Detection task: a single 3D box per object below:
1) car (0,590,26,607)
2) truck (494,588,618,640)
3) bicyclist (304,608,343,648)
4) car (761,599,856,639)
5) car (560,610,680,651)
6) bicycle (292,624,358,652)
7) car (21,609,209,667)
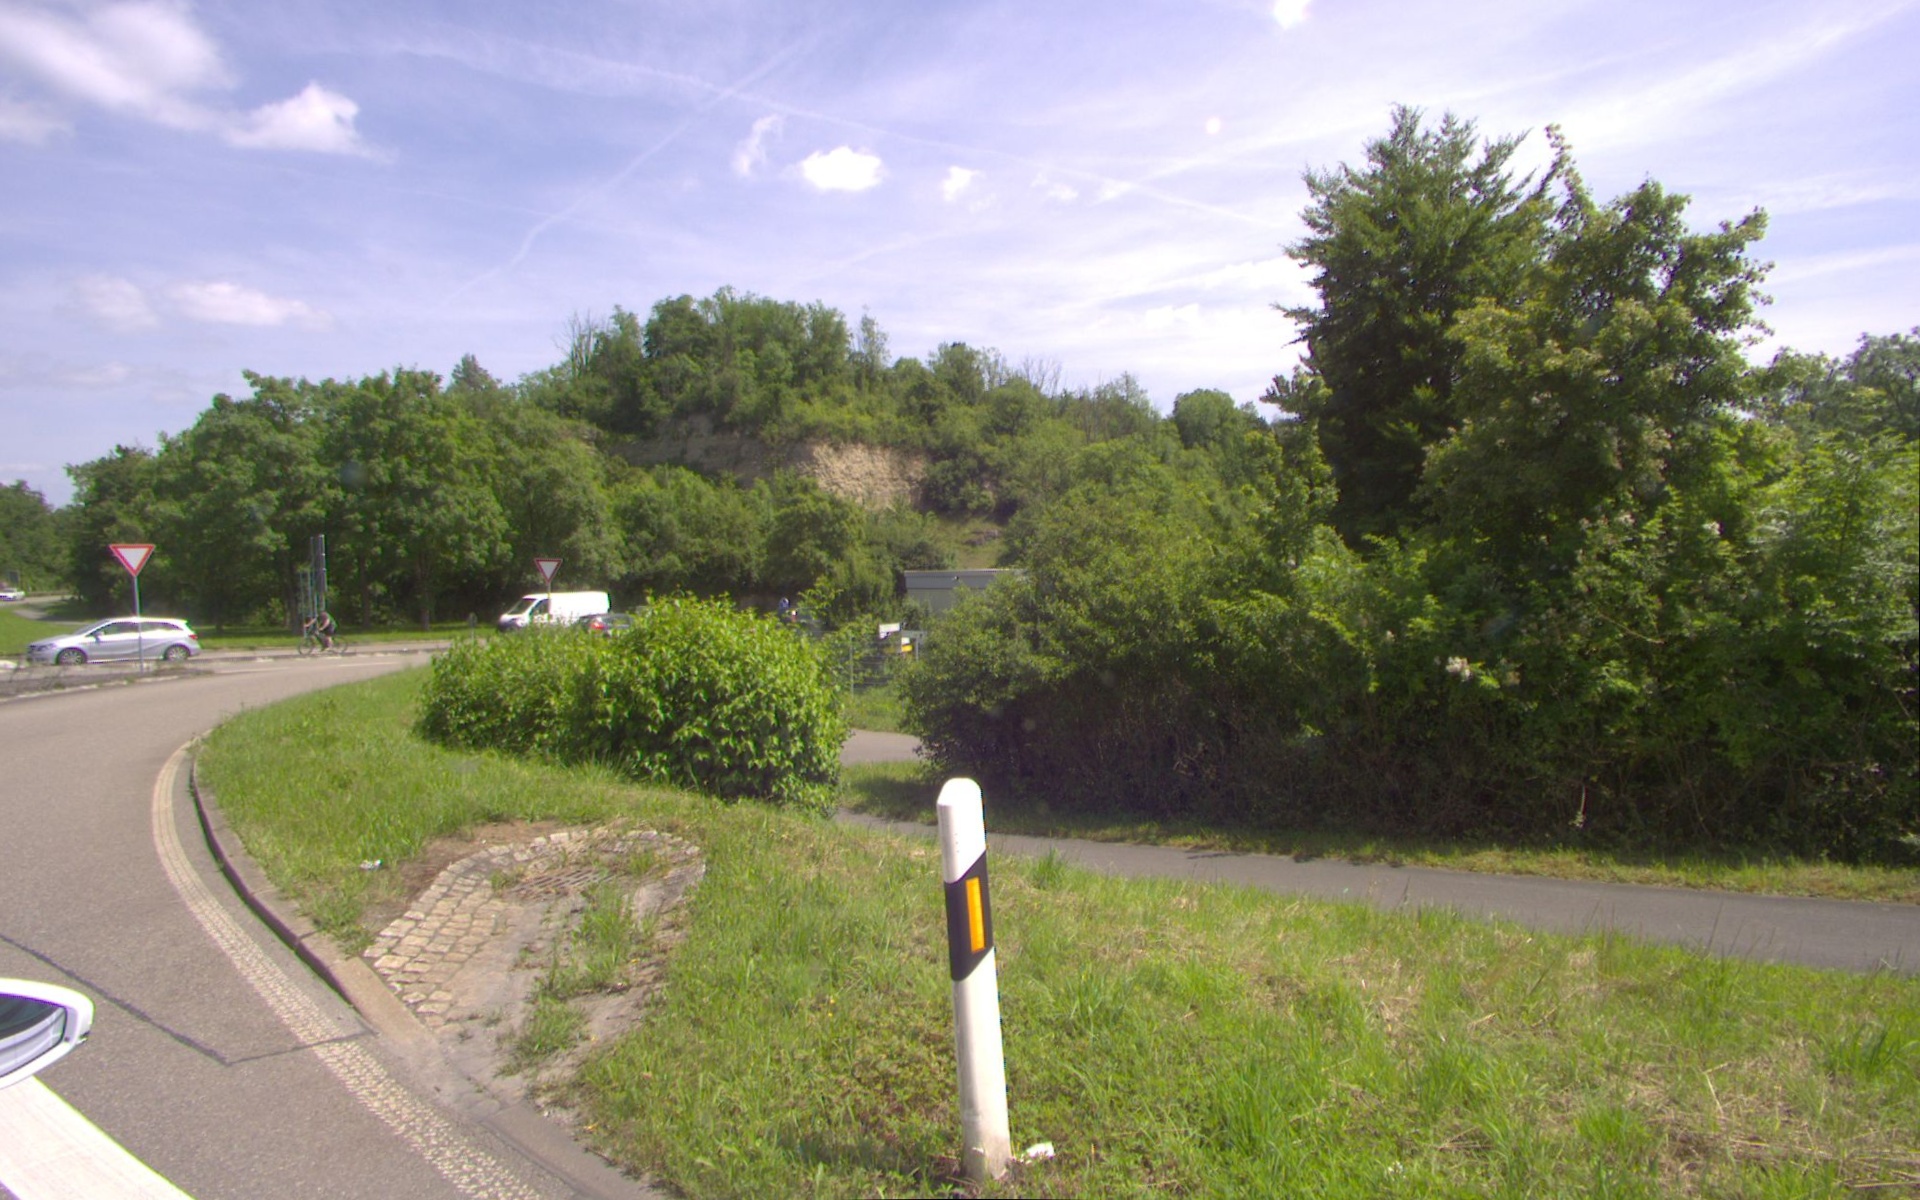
[{"bbox_3d":[-118.967,-0.255,125.481,1.972,2.041,3.975,0,2,-32],"label":"car"},{"bbox_3d":[-19.239,0.698,47.873,1.981,2.324,5.114,-4,-3,44],"label":"truck"},{"bbox_3d":[-24.199,1.057,38.063,0.784,1.466,1.004,-3,-2,30],"label":"bicyclist"},{"bbox_3d":[-7.449,0.963,49.738,1.972,1.807,4.919,-3,-3,31],"label":"car"},{"bbox_3d":[-13.455,1.220,39.862,1.973,1.509,4.236,-3,-3,32],"label":"car"},{"bbox_3d":[-24.157,1.435,38.120,0.785,1.008,1.987,-3,-3,29],"label":"bicycle"},{"bbox_3d":[-27.648,1.239,32.877,1.975,1.740,4.413,-3,-3,37],"label":"car"}]
